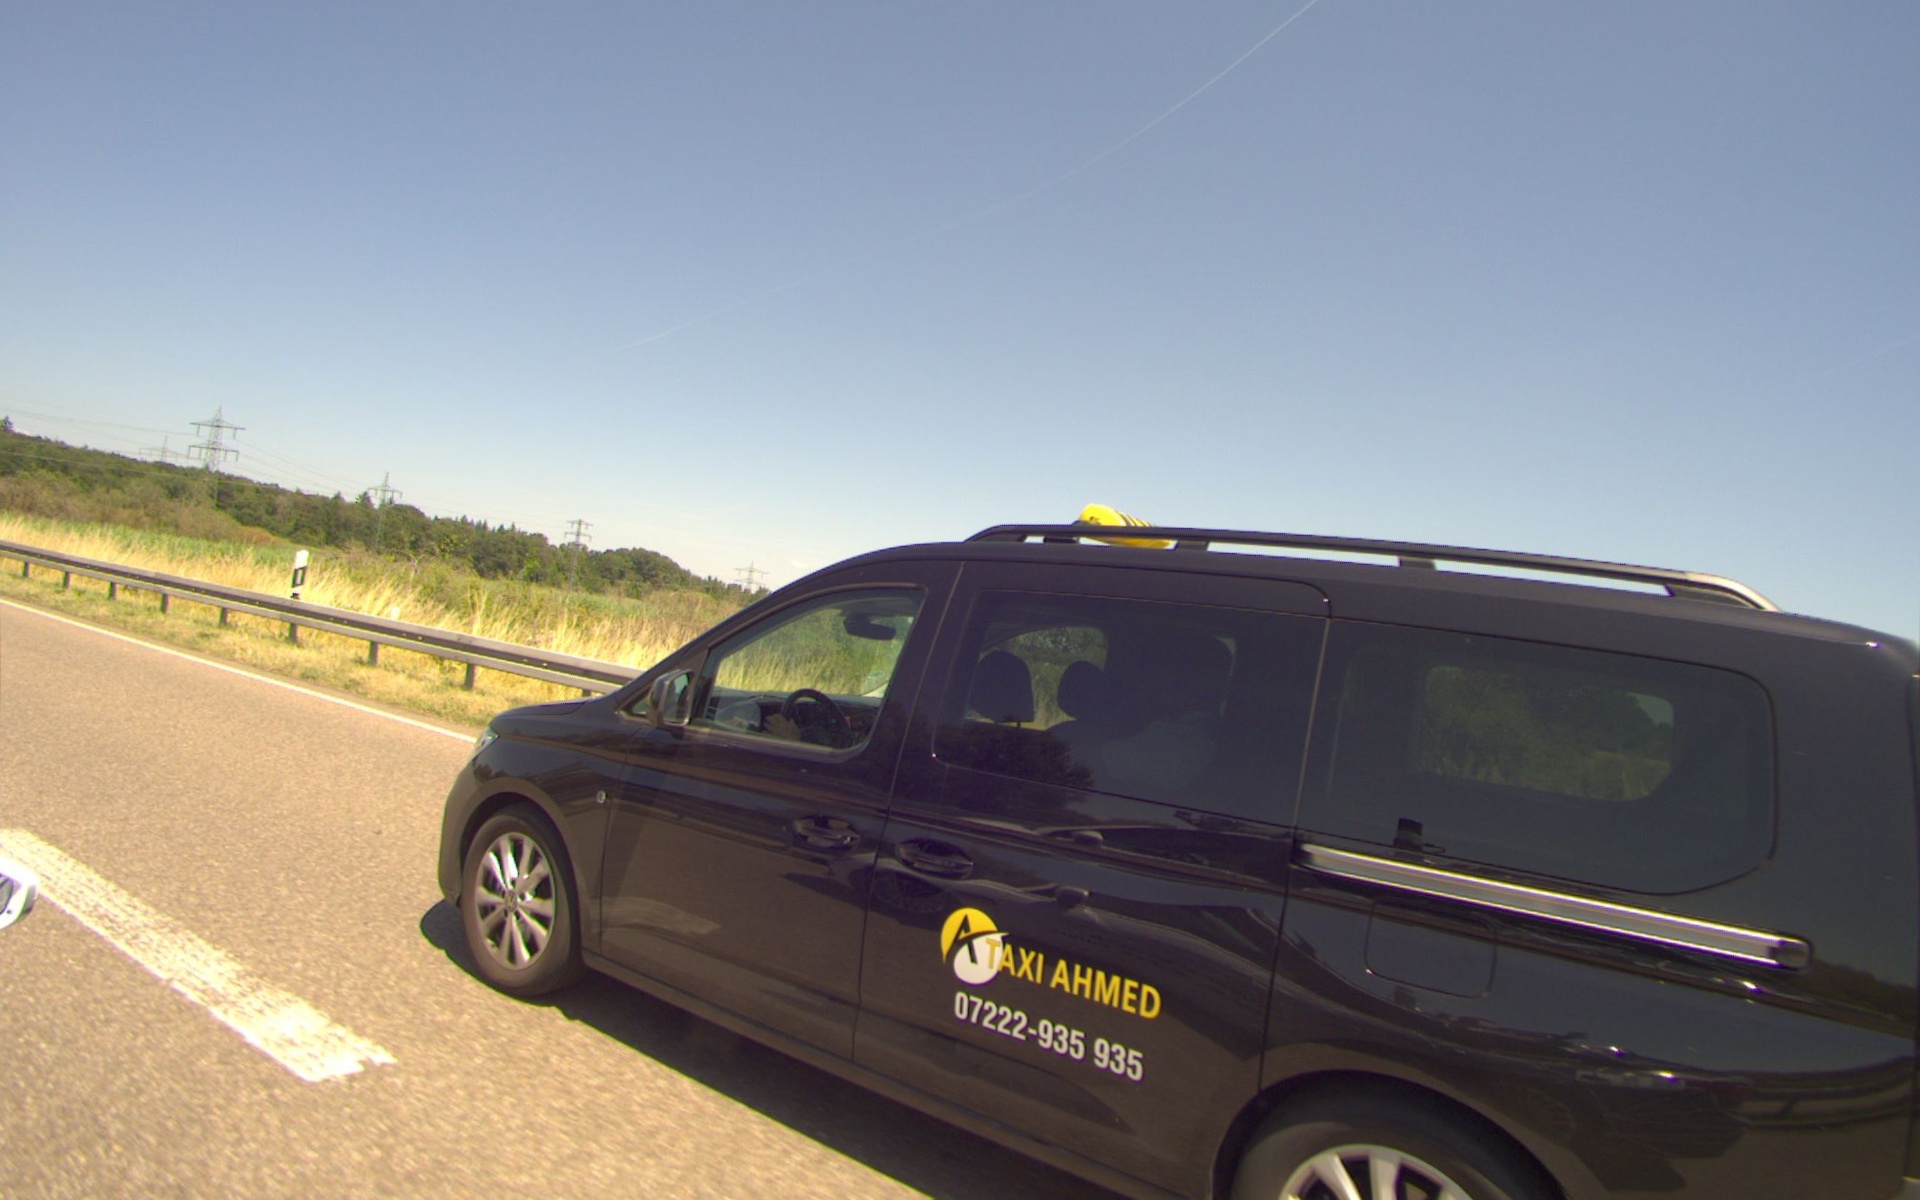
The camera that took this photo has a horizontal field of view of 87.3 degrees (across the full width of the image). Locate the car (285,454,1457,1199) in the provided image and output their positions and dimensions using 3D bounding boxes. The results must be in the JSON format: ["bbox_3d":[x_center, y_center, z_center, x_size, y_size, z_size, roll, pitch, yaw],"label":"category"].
[{"bbox_3d":[-0.542,0.582,3.924,4.143,1.837,1.783,7,-2,32],"label":"car"}]
